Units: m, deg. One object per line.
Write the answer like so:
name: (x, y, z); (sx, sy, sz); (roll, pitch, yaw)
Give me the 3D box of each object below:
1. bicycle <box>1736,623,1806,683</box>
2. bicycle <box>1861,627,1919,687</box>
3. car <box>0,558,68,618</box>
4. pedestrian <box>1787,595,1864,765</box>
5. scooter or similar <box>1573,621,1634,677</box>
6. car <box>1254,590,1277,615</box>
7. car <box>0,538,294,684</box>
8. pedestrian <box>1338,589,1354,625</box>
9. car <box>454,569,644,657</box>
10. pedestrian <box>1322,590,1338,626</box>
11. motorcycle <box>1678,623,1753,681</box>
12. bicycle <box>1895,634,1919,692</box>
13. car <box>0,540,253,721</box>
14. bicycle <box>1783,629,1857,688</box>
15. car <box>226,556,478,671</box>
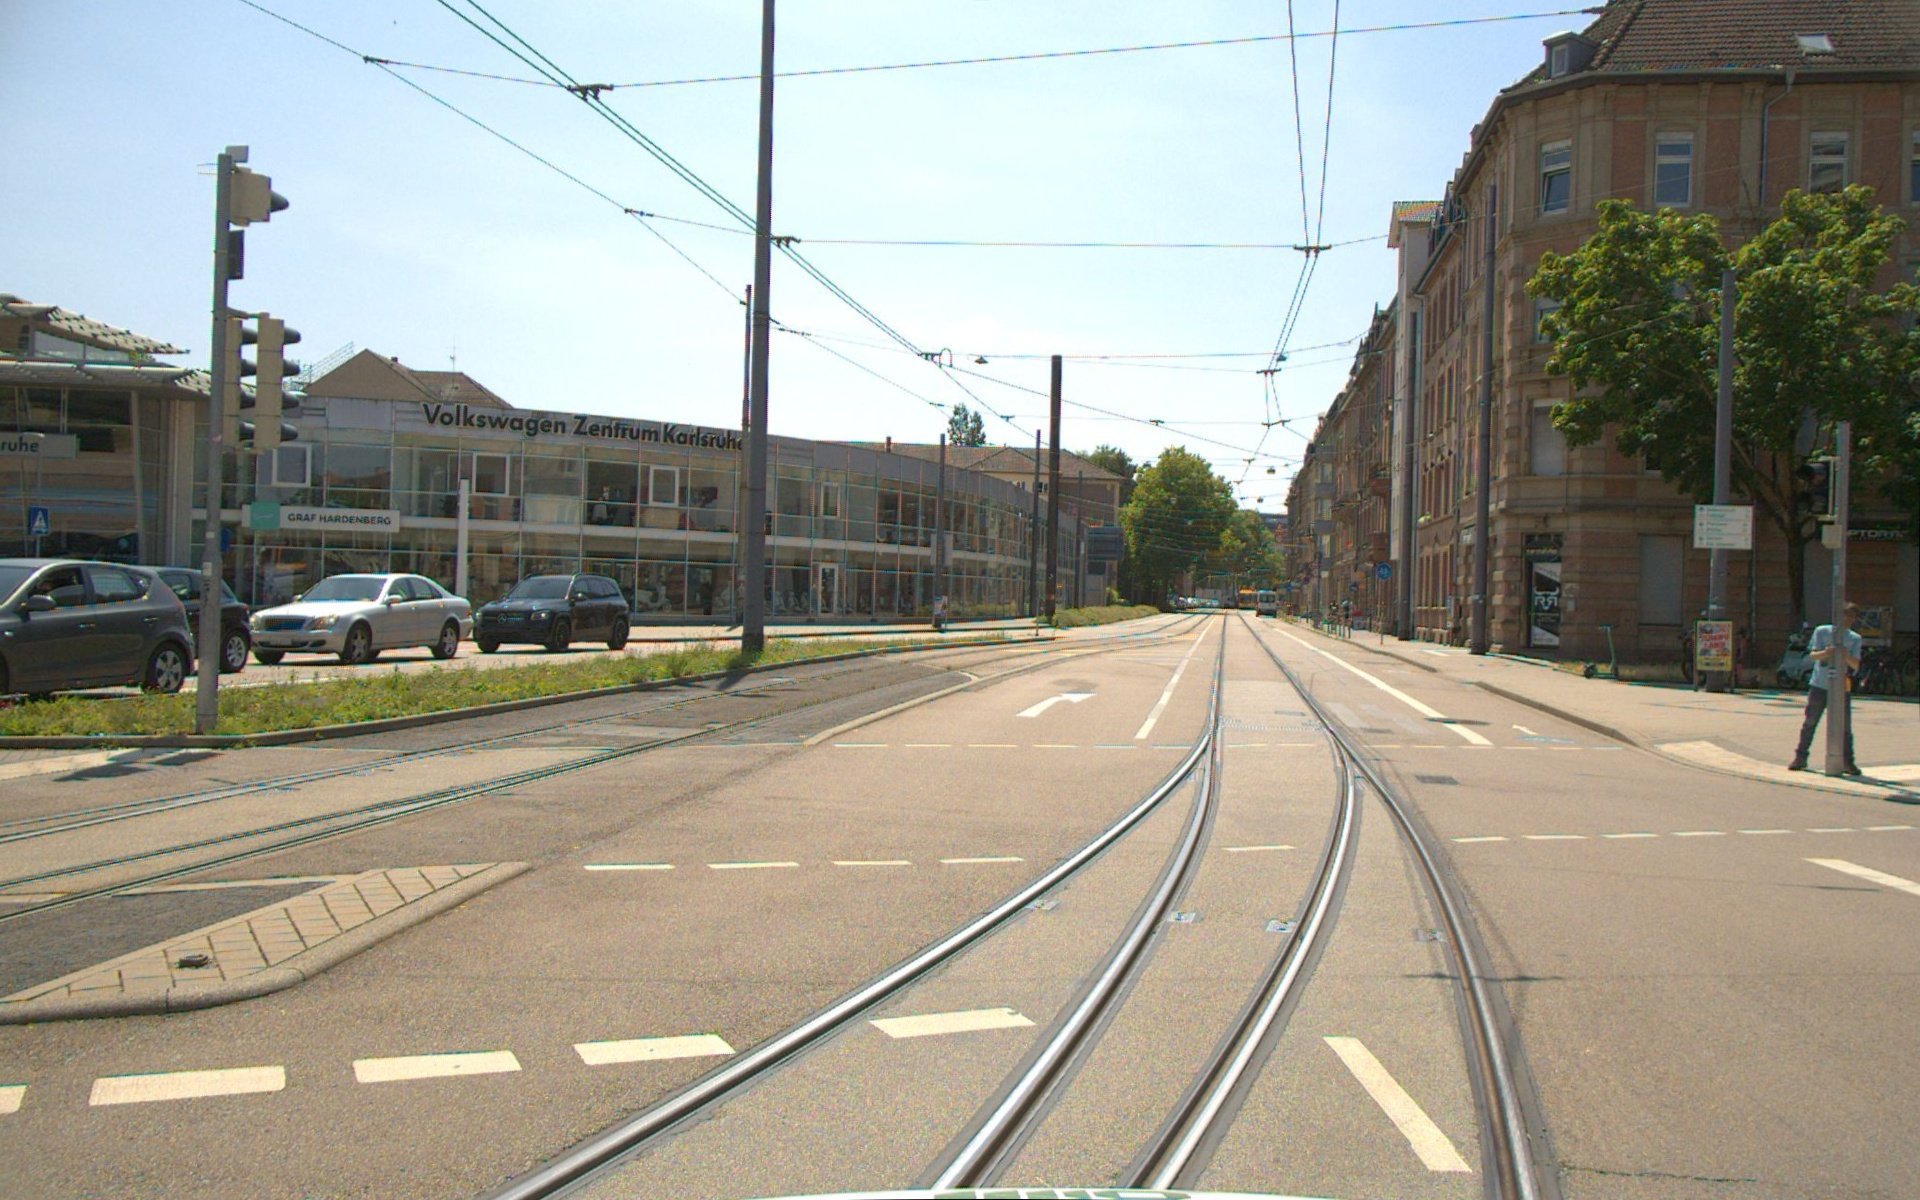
bicycle: (16.574, 1.070, 33.854); (0.540, 1.139, 1.820); (2, 0, 1)
bicycle: (19.030, 1.148, 33.773); (0.539, 1.139, 1.822); (2, 0, 10)
car: (-29.107, -0.390, 50.343); (1.883, 1.737, 3.996); (3, -1, -5)
pedestrian: (9.062, 0.823, 17.331); (0.451, 1.738, 0.640); (1, 0, 3)
scooter or similar: (14.203, 1.071, 36.479); (0.589, 1.202, 1.779); (1, 0, 45)
car: (30.066, 0.272, 162.844); (1.951, 2.219, 4.372); (3, -1, 9)
car: (-11.330, 0.108, 22.329); (1.951, 1.730, 4.850); (2, 0, 11)
pedestrian: (22.485, 0.430, 96.418); (0.751, 2.049, 0.664); (3, -1, 6)
car: (-8.693, 0.259, 35.449); (2.034, 1.712, 4.850); (2, 0, 11)
pedestrian: (21.621, 0.477, 96.554); (0.751, 2.049, 0.664); (3, -1, 6)
motorcycle: (15.476, 1.049, 33.914); (0.568, 1.093, 1.945); (2, 0, -2)
bicycle: (19.655, 1.293, 33.623); (0.539, 1.139, 1.822); (2, 0, 10)
car: (-9.514, 0.256, 16.663); (1.951, 1.666, 4.850); (2, 0, 11)
bicycle: (17.685, 1.185, 34.056); (0.433, 1.166, 2.094); (3, -1, 1)
car: (-10.342, 0.202, 28.532); (1.951, 1.770, 4.547); (2, 0, 11)
